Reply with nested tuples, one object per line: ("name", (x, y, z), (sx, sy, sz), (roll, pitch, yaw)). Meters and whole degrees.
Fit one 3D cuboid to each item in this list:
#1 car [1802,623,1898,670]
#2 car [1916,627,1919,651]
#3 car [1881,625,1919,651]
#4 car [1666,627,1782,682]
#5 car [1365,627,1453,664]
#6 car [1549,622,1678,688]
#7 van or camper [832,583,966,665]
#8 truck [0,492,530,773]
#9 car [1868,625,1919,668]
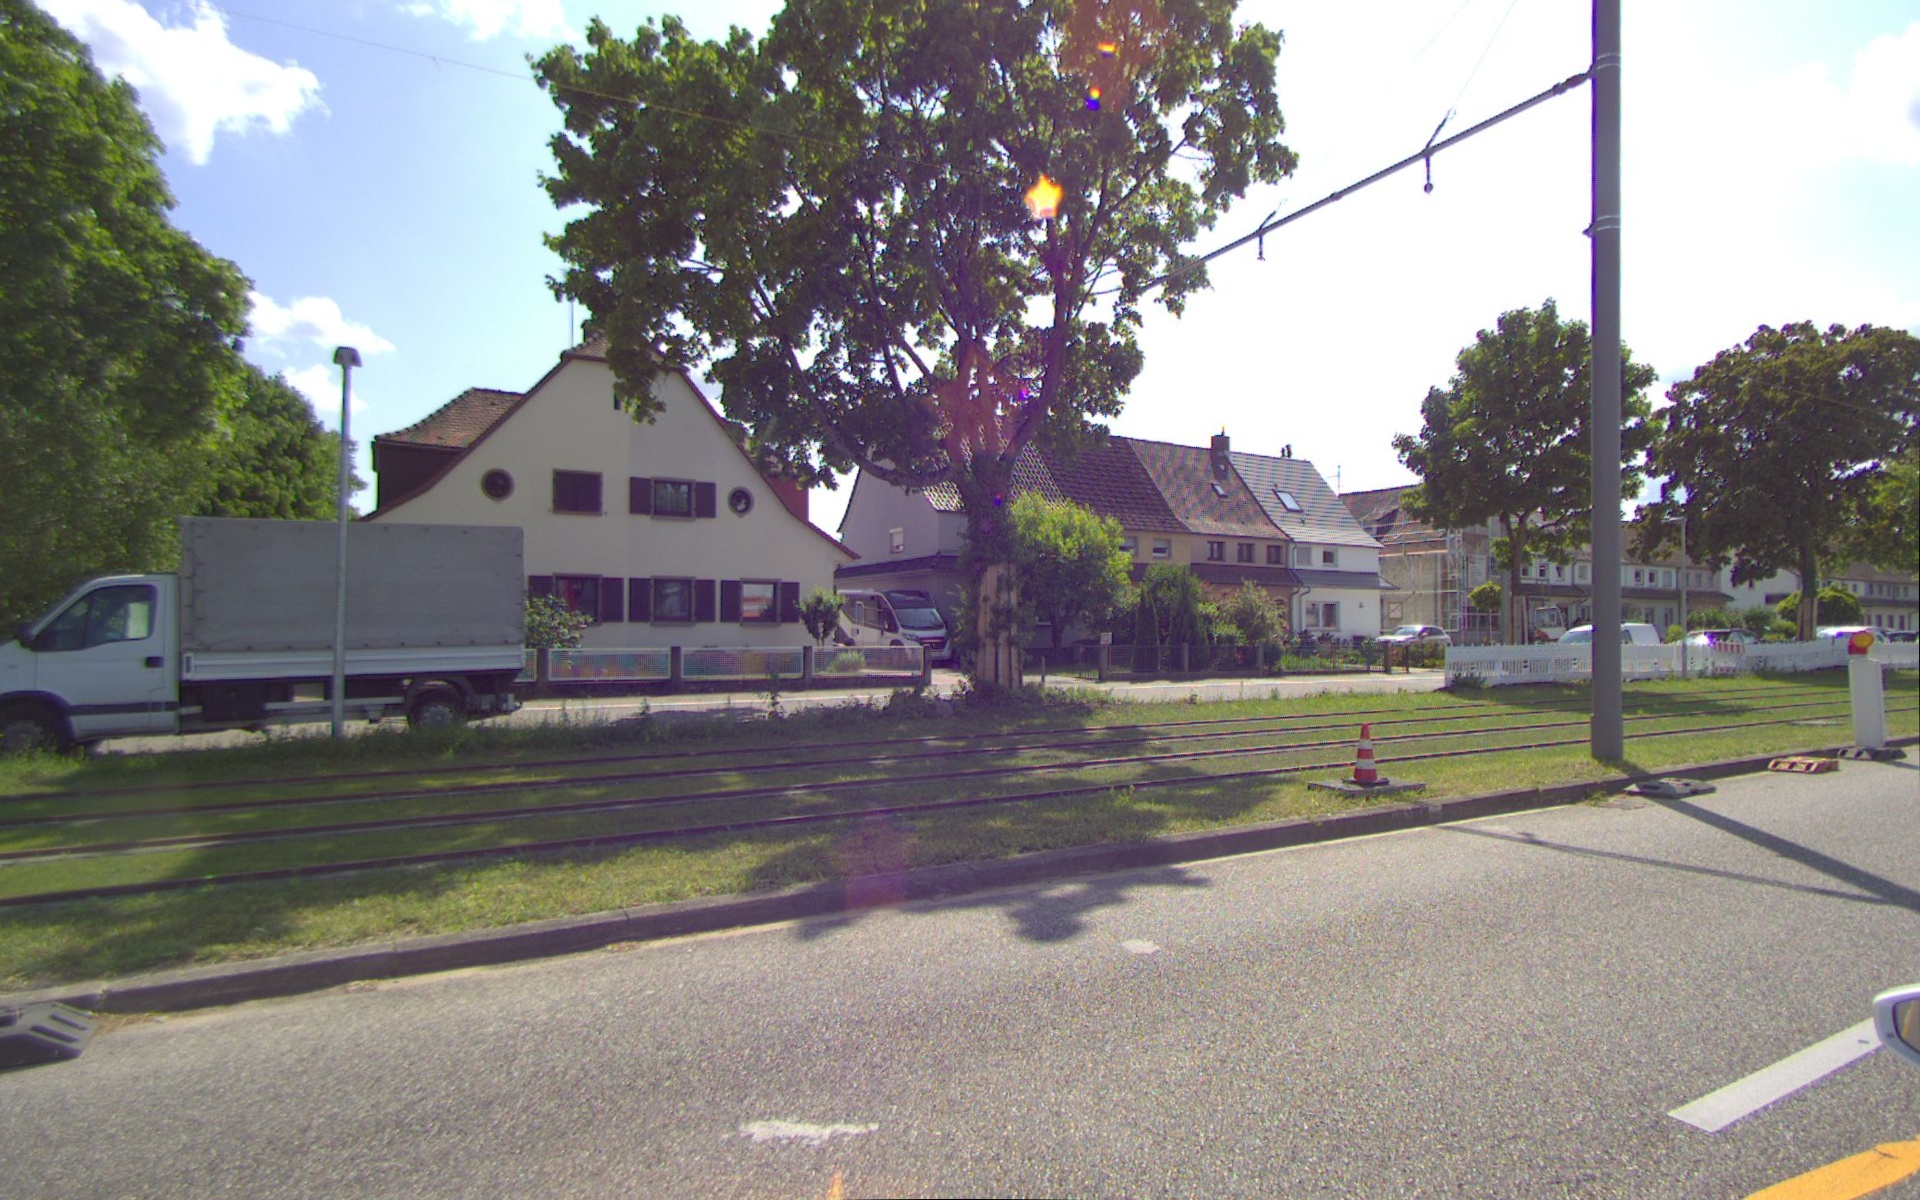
("car", (34.959, 1.799, 39.427), (3.814, 1.762, 1.691), (1, -2, -30))
("car", (72.082, 2.843, 73.767), (4.013, 1.762, 1.691), (1, -2, -30))
("car", (66.756, 2.676, 70.727), (4.013, 1.762, 1.691), (1, -2, -30))
("car", (25.750, 1.796, 33.822), (4.006, 1.762, 1.691), (1, -2, -30))
("car", (19.893, 1.989, 44.475), (3.814, 1.614, 1.691), (1, -2, -30))
("car", (19.505, 1.601, 29.956), (3.814, 1.841, 1.691), (1, -2, -30))
("van or camper", (-2.347, 0.904, 36.647), (2.224, 2.745, 5.963), (1, -2, -33))
("truck", (-8.794, 0.411, 12.930), (5.805, 3.027, 1.994), (1, -2, -30))
("car", (40.329, 1.955, 42.559), (3.814, 1.762, 1.691), (1, -2, -30))
